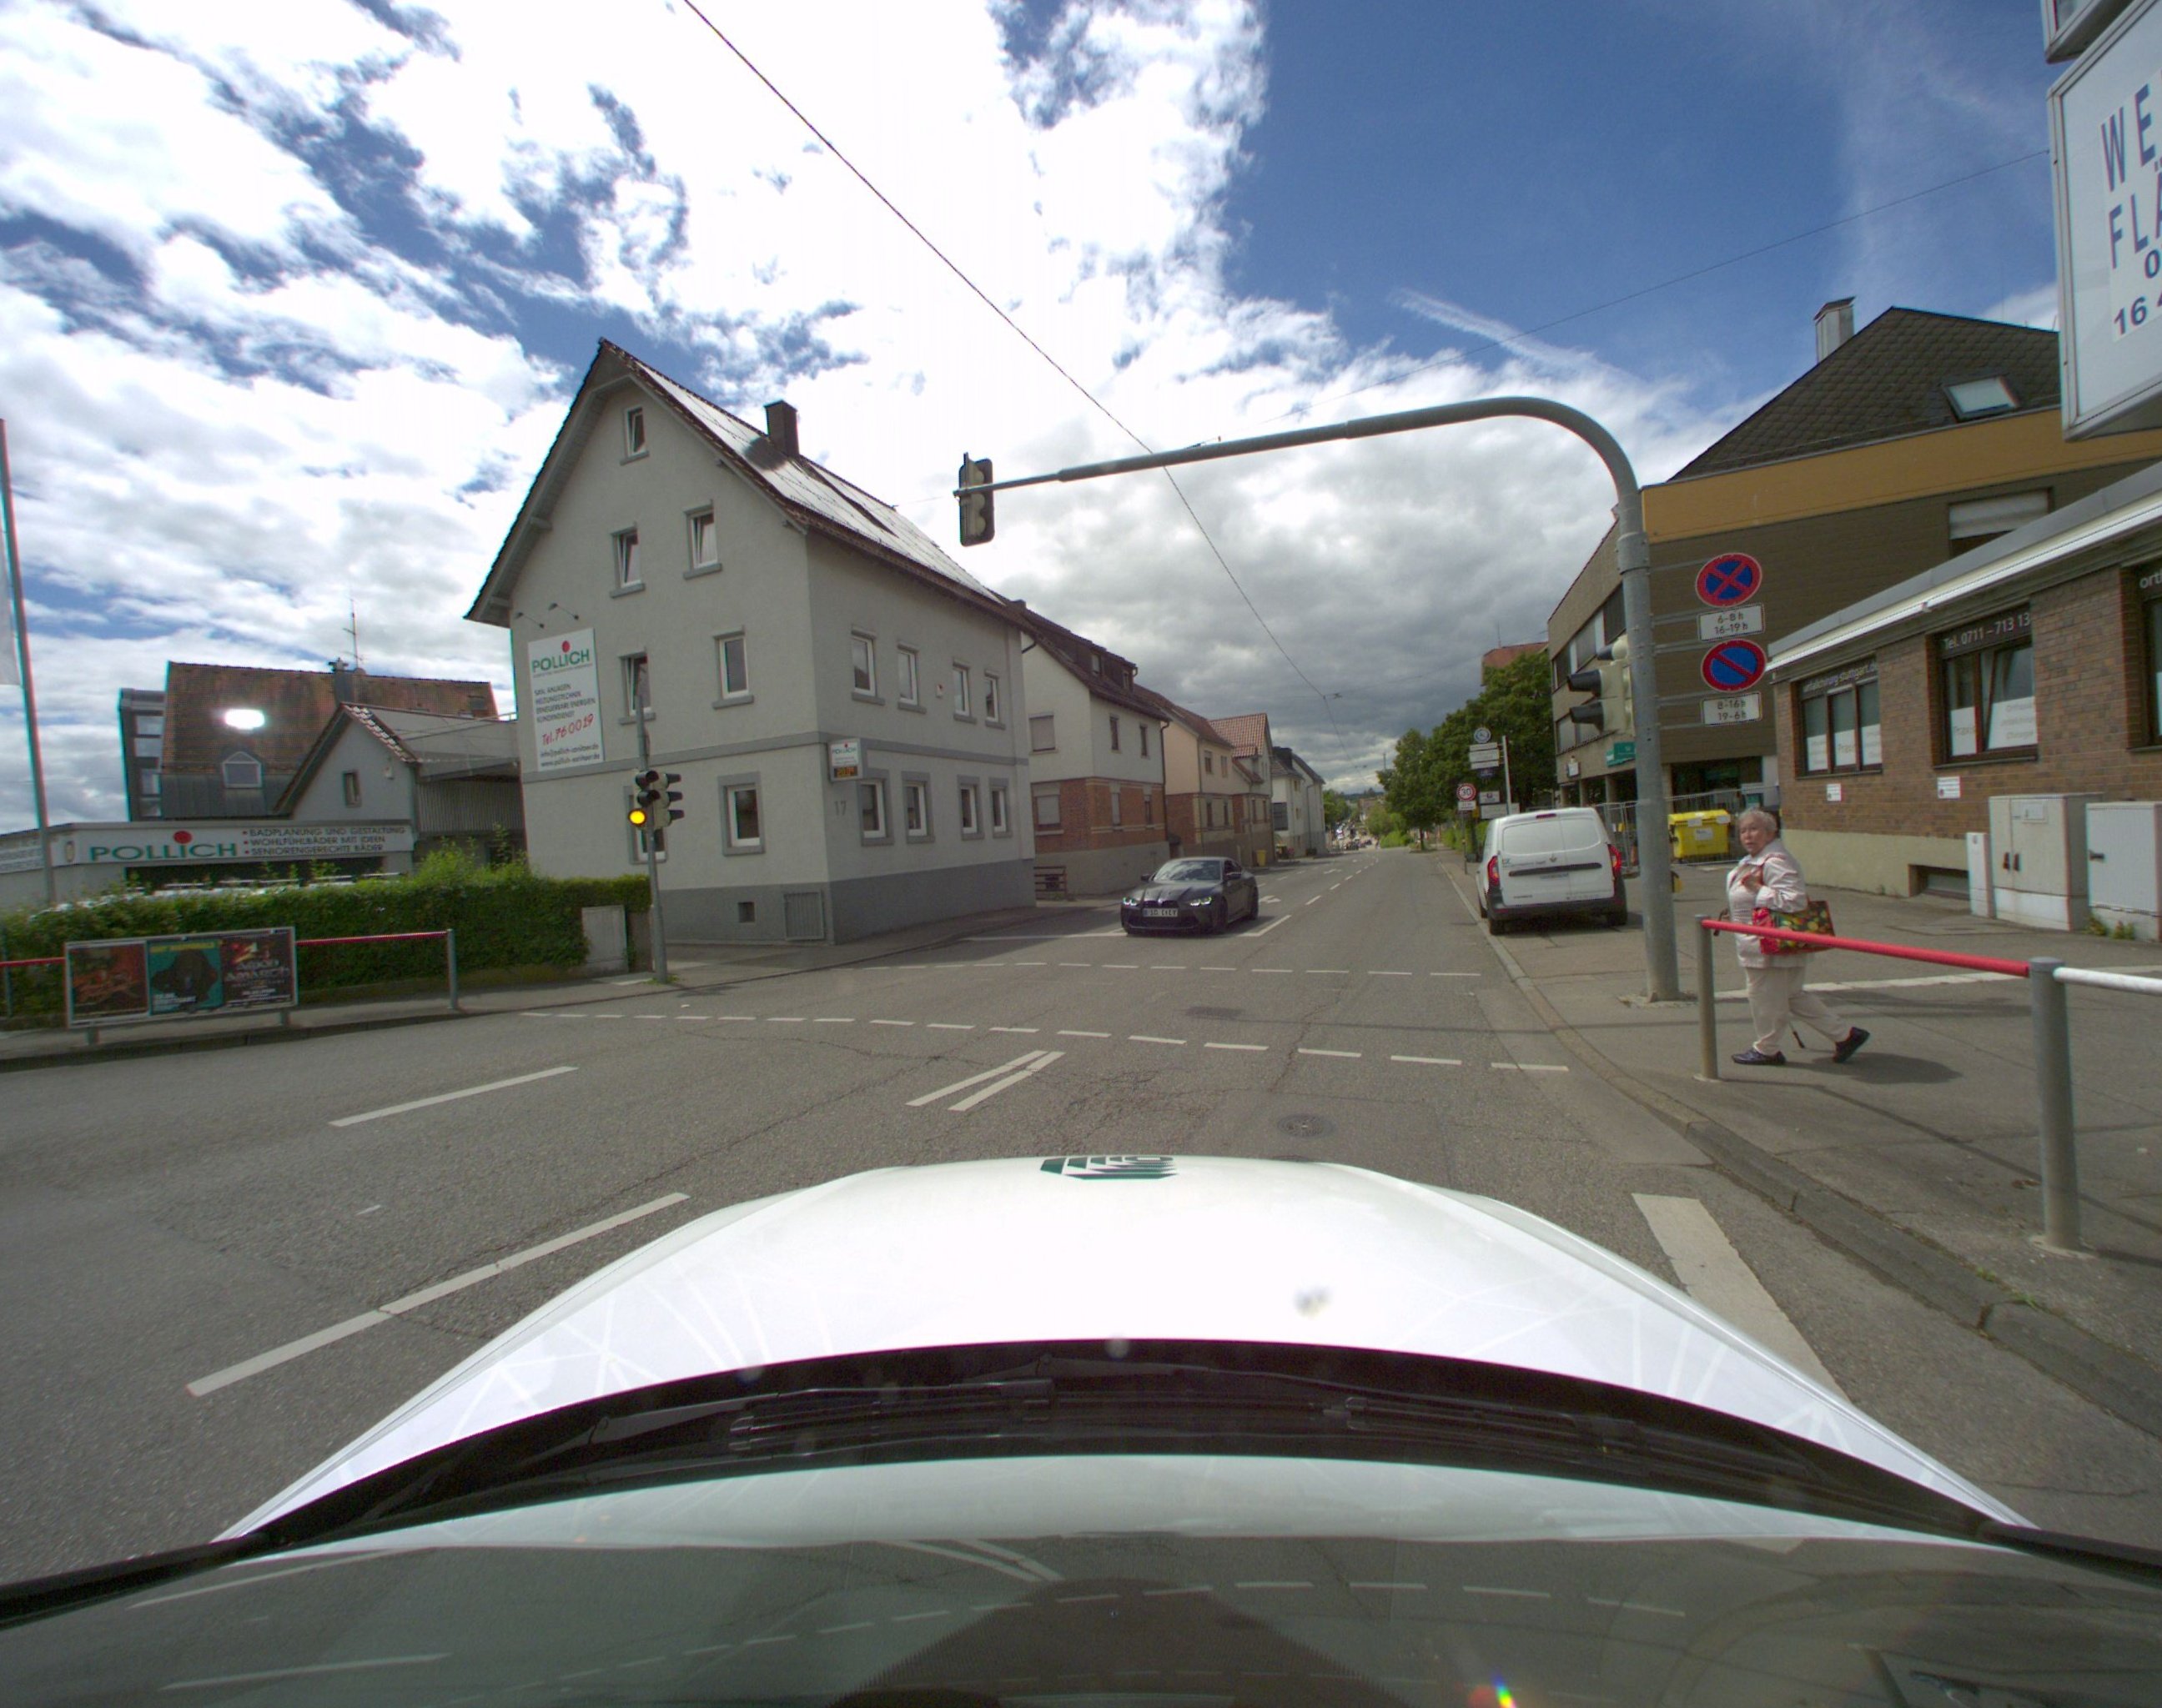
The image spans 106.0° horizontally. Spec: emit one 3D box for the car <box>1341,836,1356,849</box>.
[{"bbox_3d":[44.000,-1.887,134.084,1.979,2.013,4.015,-3,0,13],"label":"car"}]

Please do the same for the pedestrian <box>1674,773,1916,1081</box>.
[{"bbox_3d":[4.213,0.412,4.908,0.862,1.637,0.842,-6,-3,34],"label":"pedestrian"}]

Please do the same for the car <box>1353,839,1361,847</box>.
[{"bbox_3d":[76.709,-3.059,226.520,1.977,2.013,4.019,-4,-1,18],"label":"car"}]

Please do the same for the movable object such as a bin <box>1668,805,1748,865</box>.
[{"bbox_3d":[17.133,-0.526,22.299,1.469,1.492,1.083,-4,2,25],"label":"movable object such as a bin"}]

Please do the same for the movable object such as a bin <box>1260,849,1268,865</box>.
[{"bbox_3d":[12.815,0.219,57.043,0.427,1.128,0.301,-4,-1,21],"label":"movable object such as a bin"}]

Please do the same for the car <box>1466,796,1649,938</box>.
[{"bbox_3d":[7.623,0.155,13.497,1.894,1.794,4.516,-7,-1,23],"label":"car"}]

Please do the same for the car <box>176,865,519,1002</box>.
[{"bbox_3d":[-12.896,1.309,14.659,1.976,1.947,4.023,-5,0,23],"label":"car"}]

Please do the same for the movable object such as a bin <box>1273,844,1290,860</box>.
[{"bbox_3d":[17.814,-0.208,72.343,1.271,1.310,0.820,-4,0,17],"label":"movable object such as a bin"}]

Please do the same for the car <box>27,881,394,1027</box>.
[{"bbox_3d":[-15.475,1.661,14.777,1.975,2.013,4.023,-4,0,24],"label":"car"}]

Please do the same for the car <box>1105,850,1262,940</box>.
[{"bbox_3d":[2.241,0.711,16.440,1.976,1.457,4.642,-2,1,22],"label":"car"}]

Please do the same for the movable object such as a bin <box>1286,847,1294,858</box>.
[{"bbox_3d":[18.782,-0.136,73.191,0.527,1.030,0.457,-4,0,21],"label":"movable object such as a bin"}]

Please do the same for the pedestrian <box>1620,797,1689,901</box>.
[{"bbox_3d":[10.309,-0.087,14.667,0.835,1.803,0.654,-2,0,22],"label":"pedestrian"}]

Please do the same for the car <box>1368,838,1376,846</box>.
[{"bbox_3d":[82.270,-3.382,230.233,1.977,2.013,4.019,-4,-1,18],"label":"car"}]

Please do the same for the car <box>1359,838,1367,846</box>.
[{"bbox_3d":[74.824,-3.116,216.192,1.977,2.013,4.019,-4,-1,18],"label":"car"}]

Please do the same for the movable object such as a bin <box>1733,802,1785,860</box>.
[{"bbox_3d":[18.180,-0.626,21.865,0.772,1.440,1.024,-4,2,25],"label":"movable object such as a bin"}]
